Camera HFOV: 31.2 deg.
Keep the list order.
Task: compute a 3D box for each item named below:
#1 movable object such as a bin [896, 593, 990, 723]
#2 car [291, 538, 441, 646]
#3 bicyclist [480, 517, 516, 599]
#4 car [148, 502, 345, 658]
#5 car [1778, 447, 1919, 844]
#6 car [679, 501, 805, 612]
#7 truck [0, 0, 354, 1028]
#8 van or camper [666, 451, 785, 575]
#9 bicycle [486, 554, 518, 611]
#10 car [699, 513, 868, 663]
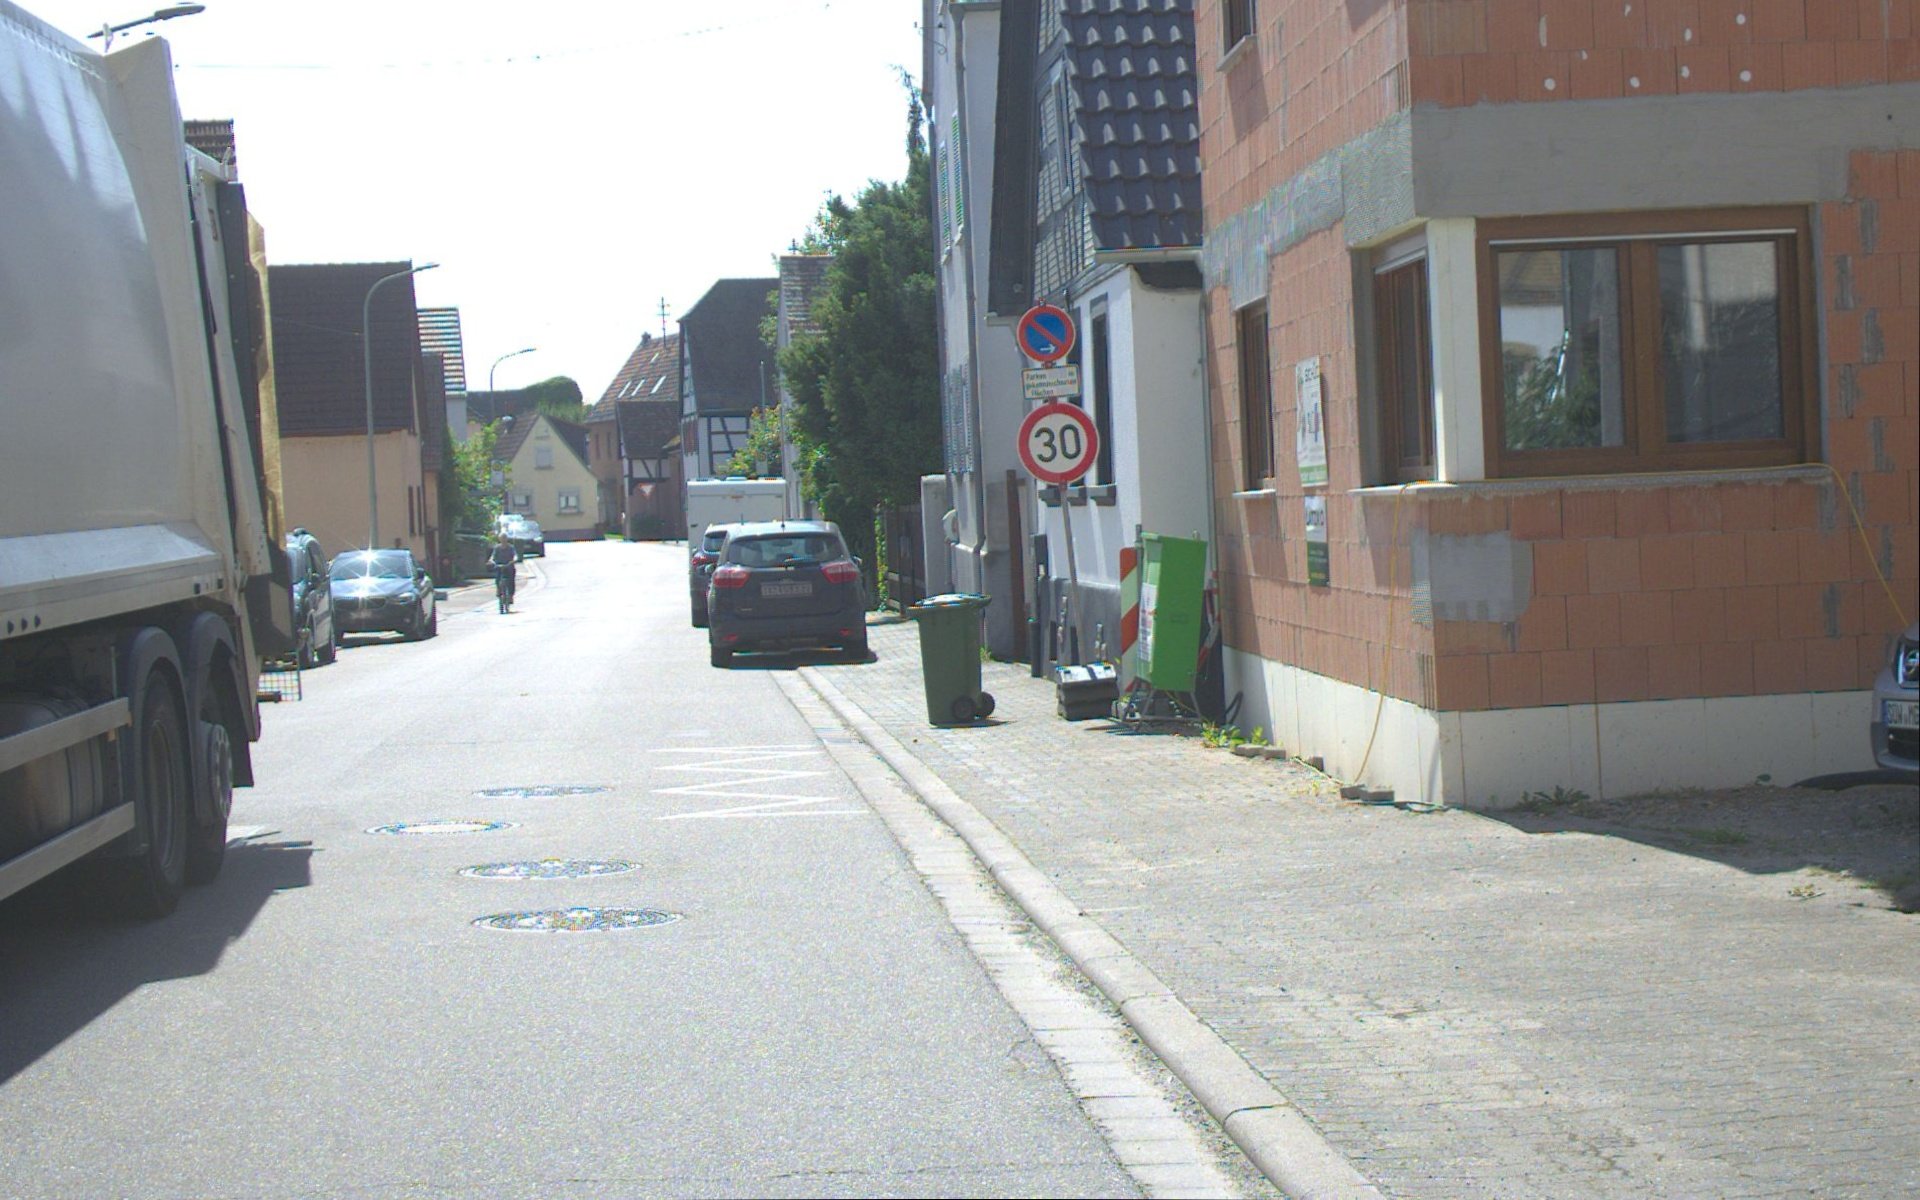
[{"bbox_3d":[-0.123,0.424,25.543,0.538,0.910,0.551,-3,2,13],"label":"movable object such as a bin"},{"bbox_3d":[-9.830,-0.165,57.206,1.844,1.521,4.766,-4,2,-4],"label":"car"},{"bbox_3d":[-10.099,-0.919,75.198,0.703,1.764,0.625,-3,1,-8],"label":"bicyclist"},{"bbox_3d":[-9.401,-0.315,45.610,1.834,1.831,4.354,-4,2,-4],"label":"car"},{"bbox_3d":[5.599,0.024,13.641,4.087,1.502,1.871,-4,2,-9],"label":"car"},{"bbox_3d":[-3.579,-0.754,57.025,1.794,1.625,4.361,-4,2,-1],"label":"car"},{"bbox_3d":[-4.467,-0.570,13.093,2.695,3.737,10.871,-2,1,-2],"label":"truck"},{"bbox_3d":[-5.551,-2.055,80.925,2.521,2.687,4.556,-4,2,-5],"label":"van or camper"},{"bbox_3d":[-9.985,-0.388,74.926,0.589,1.144,1.949,-4,2,-8],"label":"bicycle"},{"bbox_3d":[-2.121,-0.193,40.613,1.797,1.554,4.632,-4,2,-4],"label":"car"}]
